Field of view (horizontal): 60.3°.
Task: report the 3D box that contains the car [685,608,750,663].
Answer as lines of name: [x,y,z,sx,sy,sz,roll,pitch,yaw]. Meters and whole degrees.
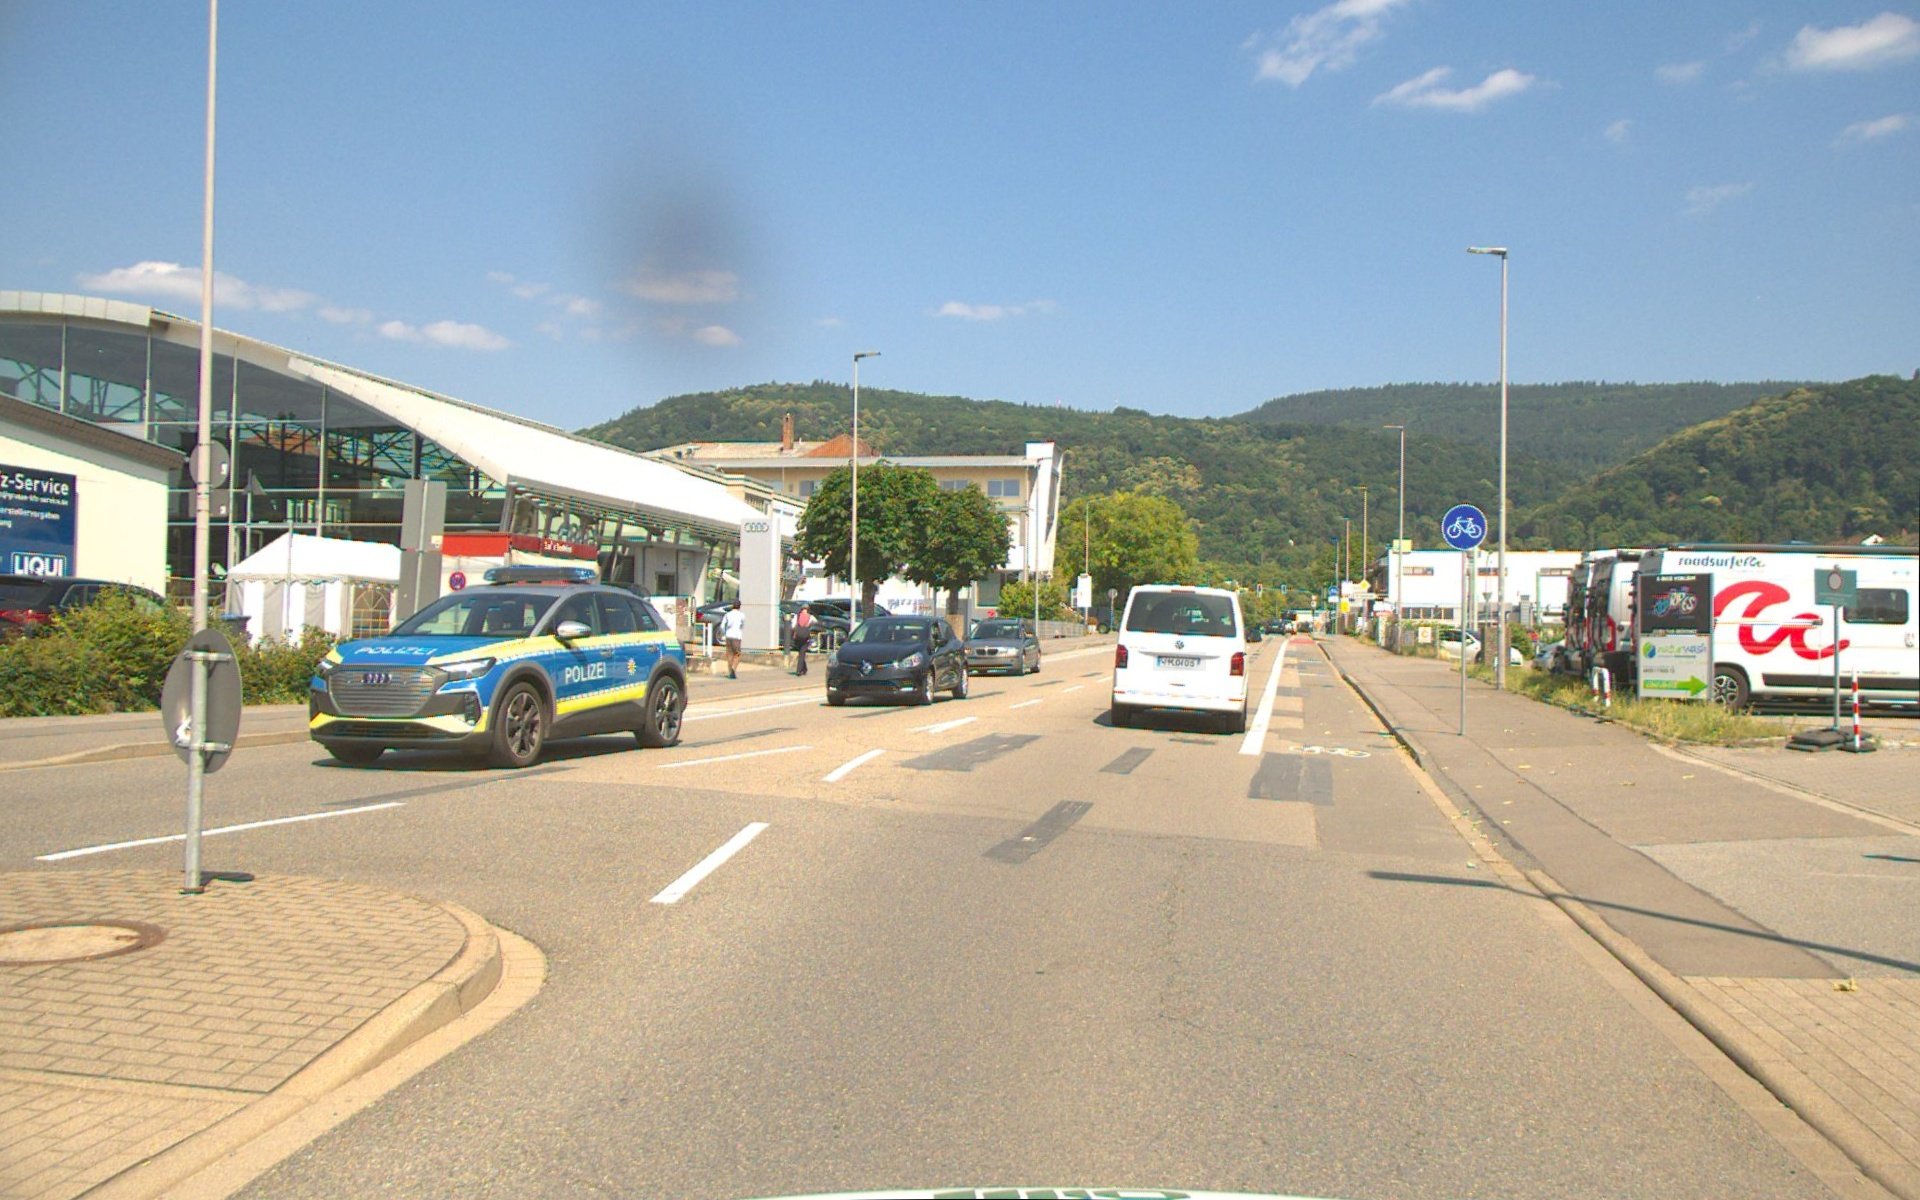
car: [-7.465,1.081,50.677,1.715,1.613,3.649,1,-1,-13]

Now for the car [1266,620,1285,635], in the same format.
car: [28.841,2.465,151.288,1.682,1.326,4.003,0,0,11]

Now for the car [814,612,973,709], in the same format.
car: [-1.027,0.955,27.649,1.802,1.490,4.003,0,0,11]

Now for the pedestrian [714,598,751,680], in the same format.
pedestrian: [-5.099,0.867,37.153,0.744,1.820,0.783,1,-1,-4]

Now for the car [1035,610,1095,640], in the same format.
car: [7.516,1.804,118.796,4.224,2.049,2.000,1,-1,0]

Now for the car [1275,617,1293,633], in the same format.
car: [36.591,2.840,186.738,1.951,1.713,4.003,1,-1,11]

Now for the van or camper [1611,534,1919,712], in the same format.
van or camper: [13.811,0.350,25.869,6.365,2.606,2.976,1,-1,13]

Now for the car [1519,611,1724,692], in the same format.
car: [15.491,1.207,38.955,4.208,1.783,1.979,1,-2,13]

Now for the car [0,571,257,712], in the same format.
car: [-11.339,0.498,21.579,1.951,1.646,4.003,0,0,14]

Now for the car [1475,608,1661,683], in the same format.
car: [15.355,1.156,42.001,4.208,1.783,1.979,1,-2,13]

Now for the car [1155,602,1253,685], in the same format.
car: [5.764,1.039,38.695,1.951,1.737,4.003,3,-2,12]

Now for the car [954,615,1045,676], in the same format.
car: [1.076,1.148,43.011,1.802,1.490,4.003,0,0,10]

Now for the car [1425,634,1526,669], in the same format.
car: [20.982,2.063,67.417,1.641,1.333,3.654,1,-1,-37]

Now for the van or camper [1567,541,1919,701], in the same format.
van or camper: [14.413,0.360,29.254,6.464,2.606,3.755,1,-1,13]

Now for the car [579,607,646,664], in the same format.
car: [-10.327,1.038,49.350,1.713,1.613,3.654,1,-1,-9]

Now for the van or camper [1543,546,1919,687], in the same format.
van or camper: [15.200,0.305,32.887,6.464,2.606,3.402,1,-1,13]

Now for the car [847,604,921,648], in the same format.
car: [-2.904,0.961,62.844,1.721,1.613,3.637,1,-1,-22]

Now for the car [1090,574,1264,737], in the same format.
car: [3.341,0.746,24.578,2.116,2.048,5.022,3,0,11]

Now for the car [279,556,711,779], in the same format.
car: [-4.160,0.556,15.684,1.868,1.791,4.454,0,0,16]

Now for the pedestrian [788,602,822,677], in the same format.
pedestrian: [-3.838,0.979,41.066,0.744,1.820,0.927,1,-1,0]
